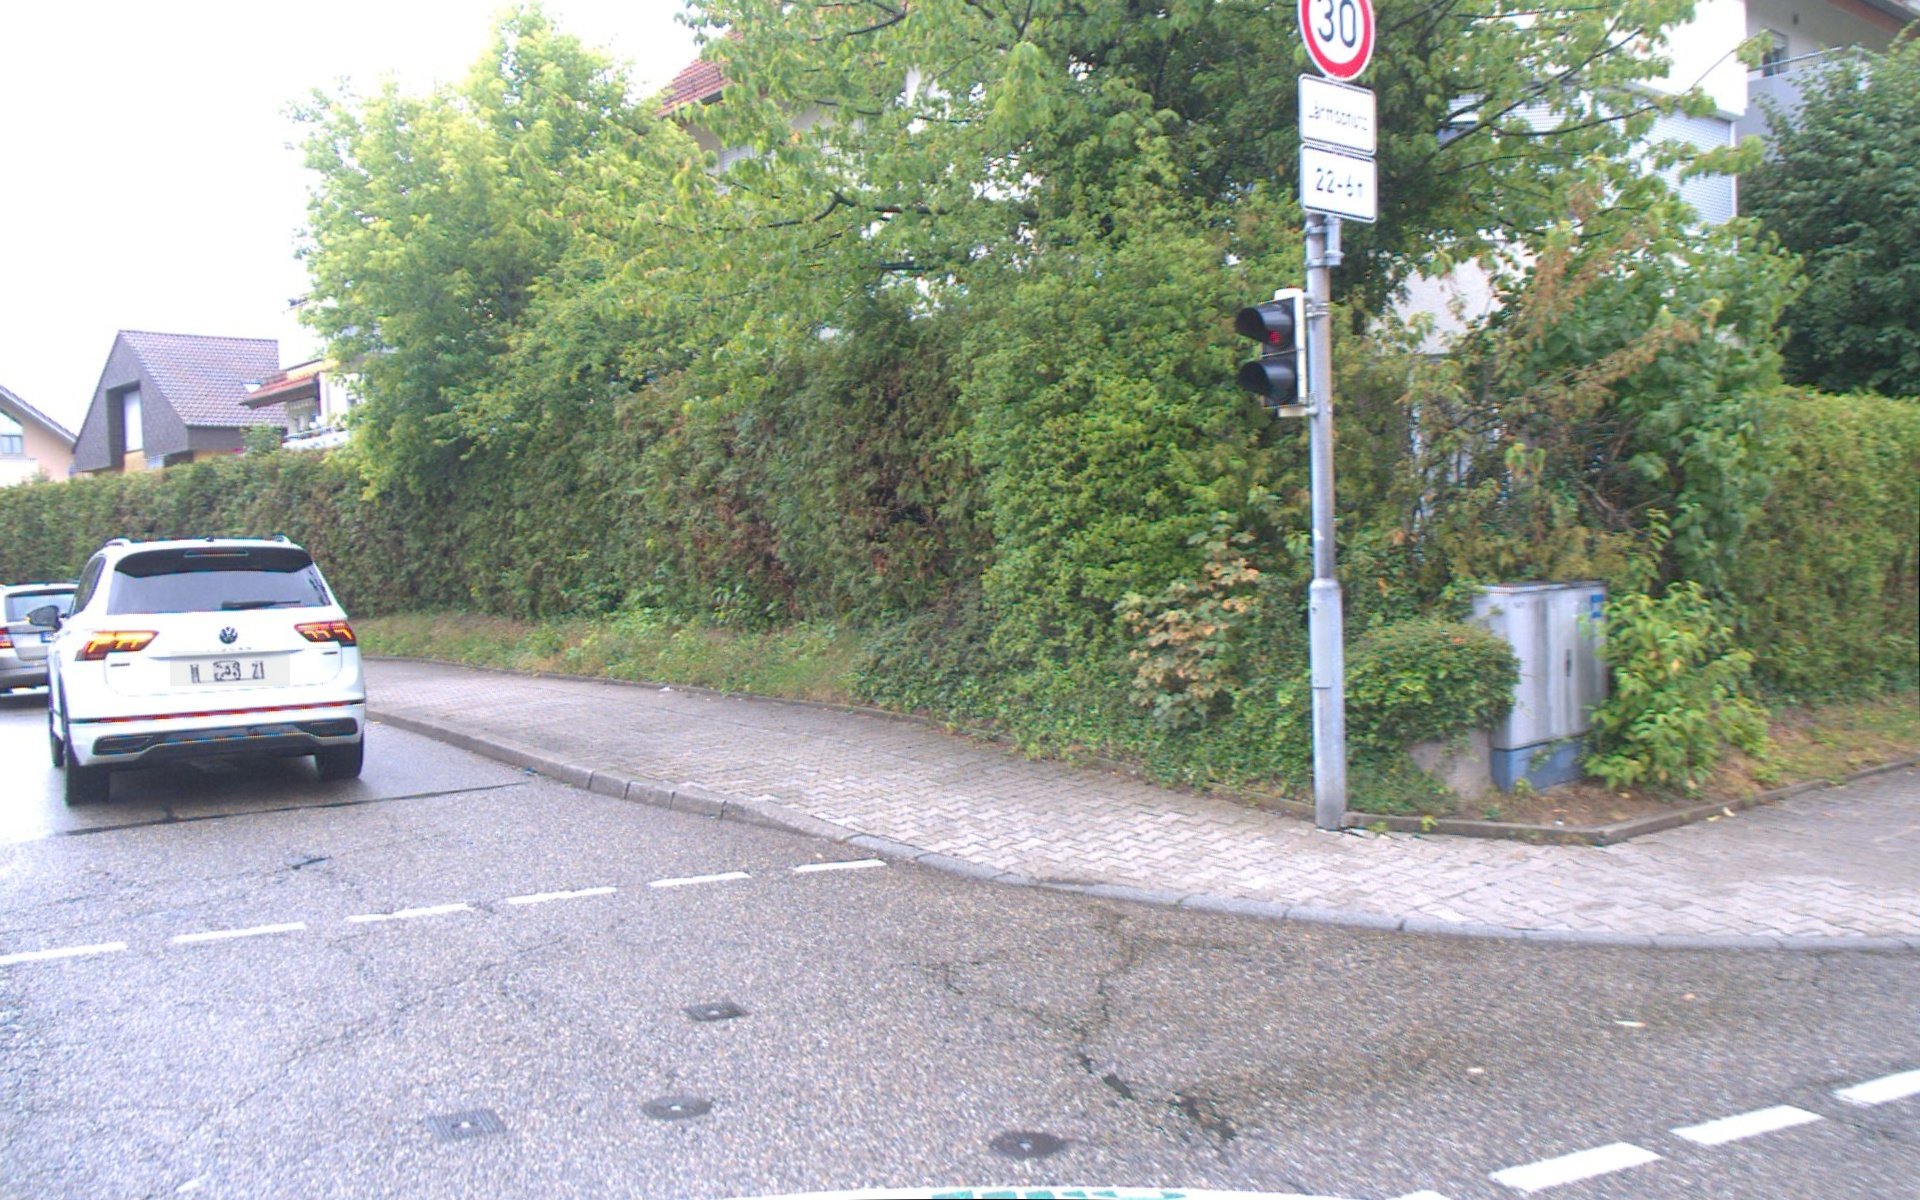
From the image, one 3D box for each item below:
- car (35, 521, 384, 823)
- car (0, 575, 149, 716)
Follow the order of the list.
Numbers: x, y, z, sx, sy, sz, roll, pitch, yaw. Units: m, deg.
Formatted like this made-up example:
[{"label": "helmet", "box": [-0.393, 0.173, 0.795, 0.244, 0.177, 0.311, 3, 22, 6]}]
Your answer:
[{"label": "car", "box": [-5.541, 0.408, 11.904, 1.746, 1.725, 4.226, -3, 1, -31]}, {"label": "car", "box": [-11.882, 0.502, 21.210, 1.788, 1.617, 3.869, -1, 1, -40]}]
